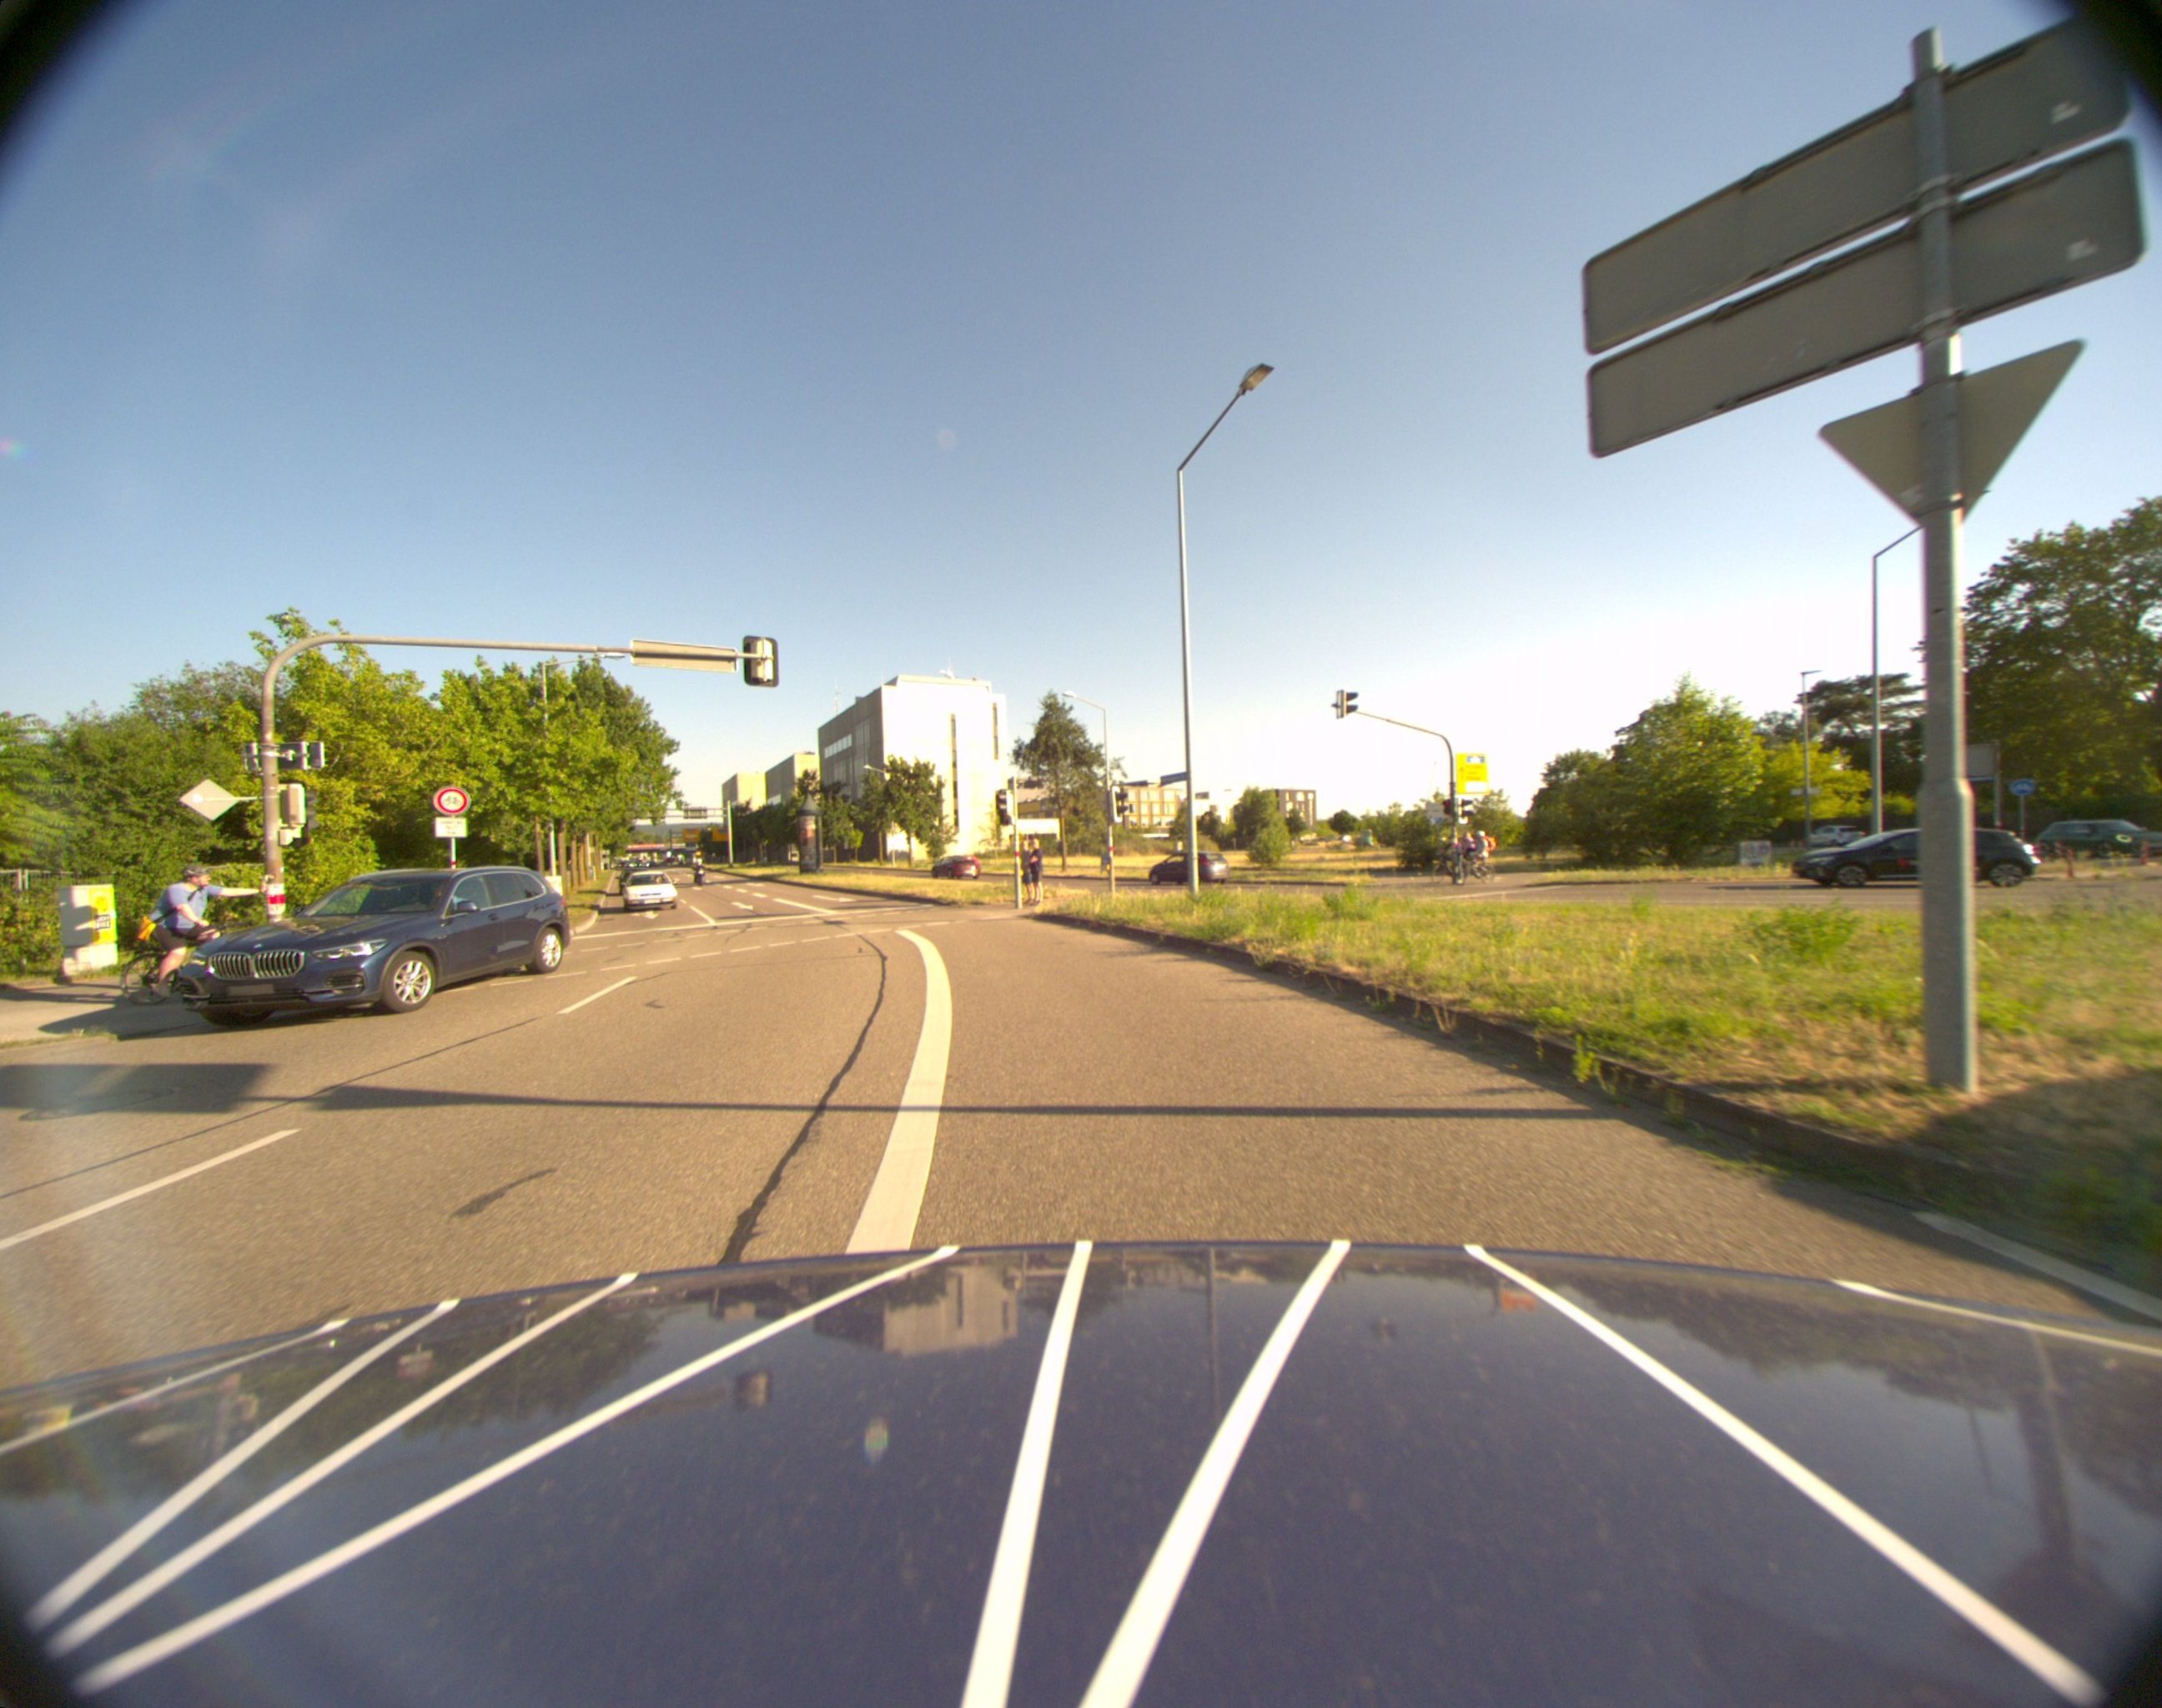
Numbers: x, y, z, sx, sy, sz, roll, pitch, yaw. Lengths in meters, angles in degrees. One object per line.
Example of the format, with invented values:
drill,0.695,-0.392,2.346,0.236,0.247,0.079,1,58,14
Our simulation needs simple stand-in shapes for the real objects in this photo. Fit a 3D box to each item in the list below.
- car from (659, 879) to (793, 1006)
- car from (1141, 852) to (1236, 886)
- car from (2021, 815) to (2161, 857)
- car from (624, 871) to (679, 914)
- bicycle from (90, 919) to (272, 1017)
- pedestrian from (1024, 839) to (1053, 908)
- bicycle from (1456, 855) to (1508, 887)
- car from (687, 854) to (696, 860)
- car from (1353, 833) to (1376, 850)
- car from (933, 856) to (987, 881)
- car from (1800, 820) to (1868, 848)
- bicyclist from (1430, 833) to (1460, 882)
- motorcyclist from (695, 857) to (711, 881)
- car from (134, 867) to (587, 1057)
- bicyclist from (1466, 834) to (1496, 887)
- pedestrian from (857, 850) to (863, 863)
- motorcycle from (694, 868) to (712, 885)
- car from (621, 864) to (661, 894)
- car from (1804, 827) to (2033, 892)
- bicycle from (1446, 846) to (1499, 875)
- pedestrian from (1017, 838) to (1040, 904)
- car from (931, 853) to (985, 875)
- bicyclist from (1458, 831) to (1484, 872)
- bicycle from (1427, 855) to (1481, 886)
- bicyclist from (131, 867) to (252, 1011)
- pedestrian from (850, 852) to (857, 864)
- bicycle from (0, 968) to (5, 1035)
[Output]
car,-6.063,1.311,12.733,1.609,1.601,3.990,-3,1,-30
car,4.577,0.629,32.840,1.676,1.368,3.940,-1,0,-40
car,39.884,-0.705,29.898,1.871,1.499,3.713,-2,1,17
car,-16.157,1.384,28.484,1.618,1.390,4.029,-3,0,-31
bicycle,-12.318,1.545,10.426,1.908,1.237,0.609,0,1,6
pedestrian,-1.169,0.521,20.748,0.488,1.833,0.670,-2,1,-28
bicycle,14.146,0.582,26.781,1.916,1.014,0.503,-4,2,-24
car,-96.755,0.759,188.580,1.570,1.566,3.403,-3,1,-34
car,35.843,-1.588,96.069,1.995,2.002,3.887,-1,1,31
car,-7.304,0.864,45.620,1.675,1.368,4.139,-1,0,-32
car,52.048,-1.385,52.589,1.601,1.849,4.004,-2,1,16
bicyclist,13.374,0.118,27.936,0.816,1.761,0.495,-4,2,-16
motorcyclist,-23.544,0.933,47.304,0.736,1.503,0.917,-2,1,-32
car,-9.173,1.181,10.449,1.961,1.717,4.695,-3,2,-6
bicyclist,14.076,0.223,26.725,0.816,1.779,0.495,-4,2,-23
pedestrian,-31.711,0.354,109.110,0.635,1.831,0.715,-3,1,-30
motorcycle,-23.633,1.377,47.486,0.750,0.978,2.135,-3,1,-32
car,-24.498,1.358,42.239,1.729,1.491,4.204,-4,2,-32
car,20.317,0.147,18.617,3.454,1.445,1.511,-2,1,26
bicycle,15.977,0.274,31.004,1.818,1.112,0.727,-1,2,34
pedestrian,-1.506,0.485,21.581,0.487,1.833,0.719,-3,0,-10
car,-8.594,0.693,52.968,3.605,1.433,1.676,-1,0,36
bicyclist,15.903,-0.106,31.005,0.829,1.656,0.711,-1,1,35
bicycle,13.773,0.586,28.062,1.915,1.014,0.503,-3,2,-15
bicyclist,-12.145,1.135,10.395,0.938,1.888,0.601,0,1,6
pedestrian,-32.654,0.588,109.156,0.779,1.592,0.907,-3,1,-30
bicycle,-13.445,1.786,8.558,0.438,0.782,1.467,-1,1,42
